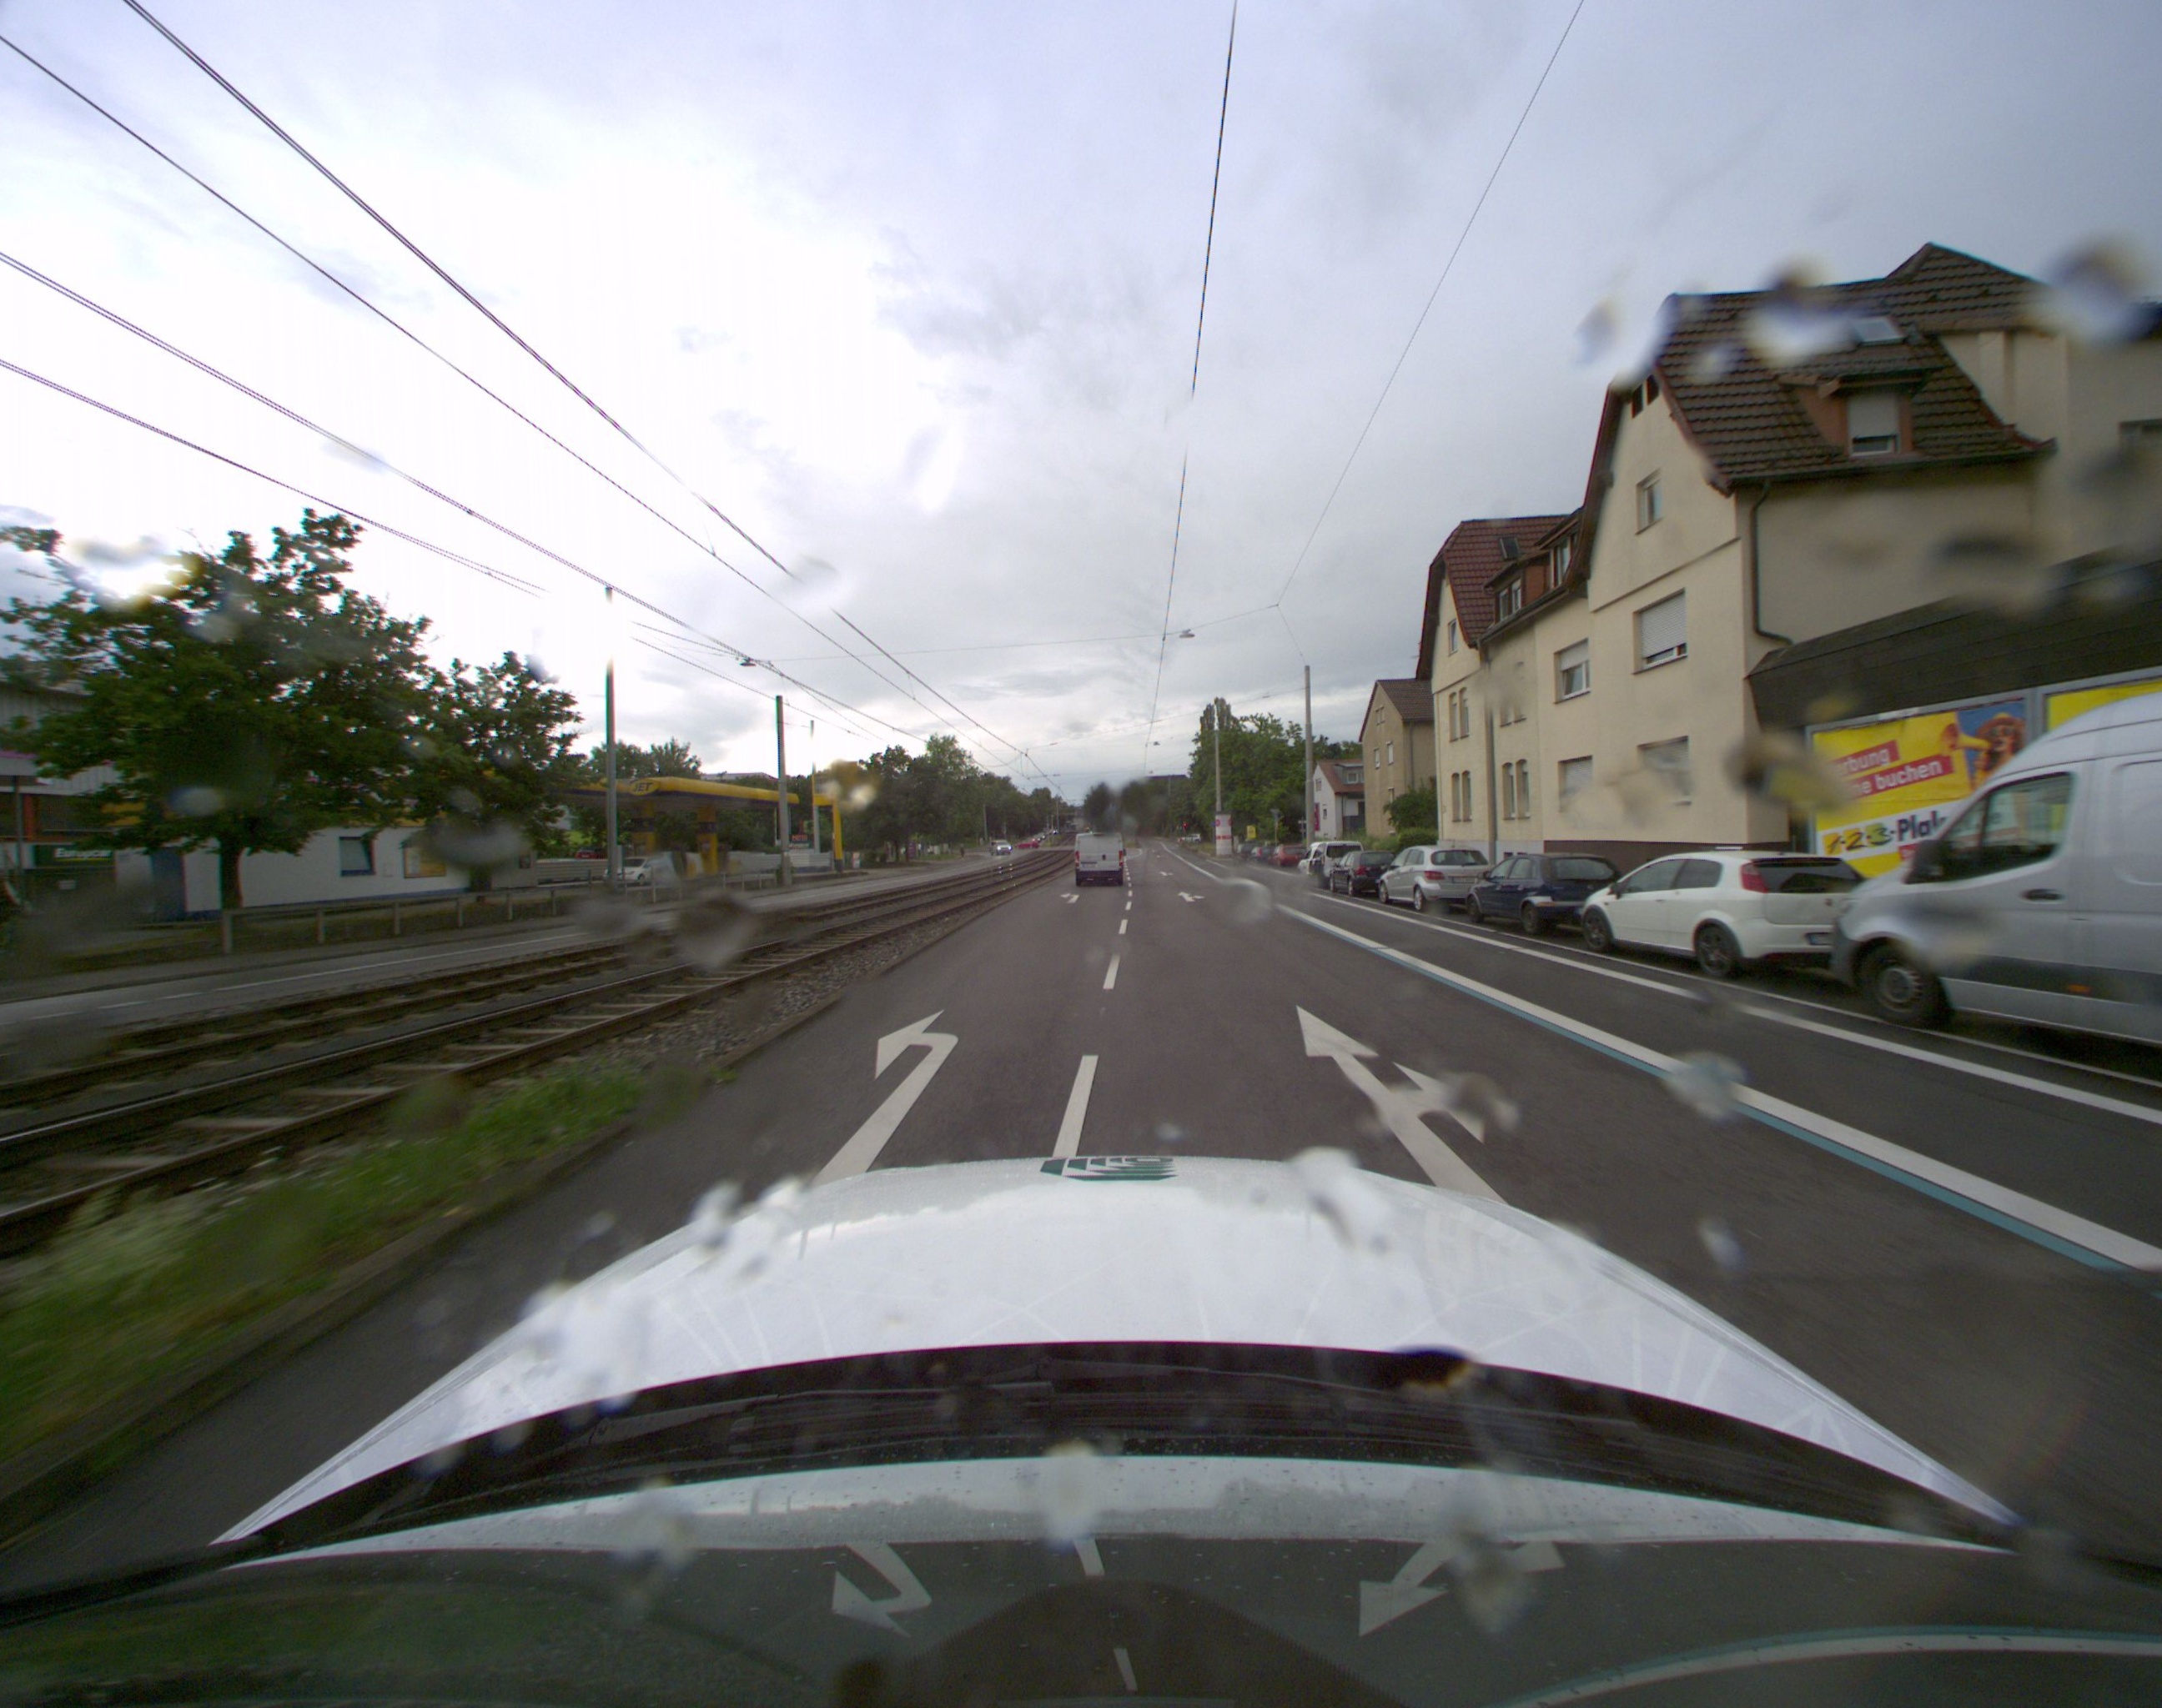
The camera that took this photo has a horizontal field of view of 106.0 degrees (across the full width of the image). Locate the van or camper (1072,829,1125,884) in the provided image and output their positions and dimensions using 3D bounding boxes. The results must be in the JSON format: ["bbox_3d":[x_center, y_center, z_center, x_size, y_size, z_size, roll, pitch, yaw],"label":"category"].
[{"bbox_3d":[0.741,0.120,35.654,2.191,2.252,4.684,0,0,0],"label":"van or camper"}]

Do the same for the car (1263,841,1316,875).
[{"bbox_3d":[10.561,0.174,41.572,1.840,1.645,3.957,-1,1,3],"label":"car"}]

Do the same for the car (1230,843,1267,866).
[{"bbox_3d":[11.306,0.023,55.174,1.840,1.500,3.957,-1,0,3],"label":"car"}]

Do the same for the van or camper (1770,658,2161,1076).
[{"bbox_3d":[7.632,0.077,5.017,1.985,2.563,6.050,0,1,4],"label":"van or camper"}]

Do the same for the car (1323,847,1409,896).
[{"bbox_3d":[9.133,0.513,26.421,1.639,1.446,3.958,0,0,4],"label":"car"}]

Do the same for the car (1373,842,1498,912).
[{"bbox_3d":[8.901,0.507,20.800,1.639,1.615,4.108,0,0,4],"label":"car"}]

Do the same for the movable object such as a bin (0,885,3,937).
[{"bbox_3d":[-30.037,1.553,21.094,1.992,1.375,1.566,0,1,-8],"label":"movable object such as a bin"}]

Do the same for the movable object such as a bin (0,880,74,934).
[{"bbox_3d":[-30.204,1.459,22.771,1.992,1.375,1.566,0,1,-8],"label":"movable object such as a bin"}]

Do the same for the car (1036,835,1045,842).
[{"bbox_3d":[-9.099,-3.544,184.211,1.683,1.574,3.778,0,0,2],"label":"car"}]

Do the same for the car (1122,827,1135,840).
[{"bbox_3d":[7.738,-3.287,132.621,1.987,2.014,4.000,0,0,0],"label":"car"}]

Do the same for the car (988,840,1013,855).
[{"bbox_3d":[-11.284,-0.938,113.515,2.004,2.014,4.488,0,0,-27],"label":"car"}]

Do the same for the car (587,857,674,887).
[{"bbox_3d":[-22.137,0.861,40.221,1.986,1.442,4.001,0,0,2],"label":"car"}]

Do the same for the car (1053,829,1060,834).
[{"bbox_3d":[-7.836,-7.189,258.722,1.985,1.651,4.003,-2,0,3],"label":"car"}]

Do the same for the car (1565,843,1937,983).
[{"bbox_3d":[8.178,0.592,10.513,1.701,1.446,4.045,0,1,4],"label":"car"}]

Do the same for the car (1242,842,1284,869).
[{"bbox_3d":[10.975,0.091,49.278,1.840,1.500,3.957,-1,0,3],"label":"car"}]

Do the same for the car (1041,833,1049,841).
[{"bbox_3d":[-9.857,-4.657,223.162,1.985,2.014,4.003,0,0,3],"label":"car"}]

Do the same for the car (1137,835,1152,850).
[{"bbox_3d":[8.880,-1.662,114.541,1.985,2.014,4.004,0,0,3],"label":"car"}]

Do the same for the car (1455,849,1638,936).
[{"bbox_3d":[8.616,0.625,15.439,1.618,1.448,3.712,0,0,5],"label":"car"}]

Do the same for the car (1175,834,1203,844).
[{"bbox_3d":[17.454,-2.387,132.145,4.131,1.476,1.677,-2,0,27],"label":"car"}]

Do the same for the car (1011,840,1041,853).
[{"bbox_3d":[-8.959,-1.243,132.090,4.470,2.014,2.012,0,-1,30],"label":"car"}]

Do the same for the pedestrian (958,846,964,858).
[{"bbox_3d":[-14.877,-0.260,100.824,0.612,1.475,0.641,-2,0,-10],"label":"pedestrian"}]

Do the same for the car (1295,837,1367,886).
[{"bbox_3d":[9.673,0.241,31.795,1.740,1.807,3.957,-1,1,3],"label":"car"}]
